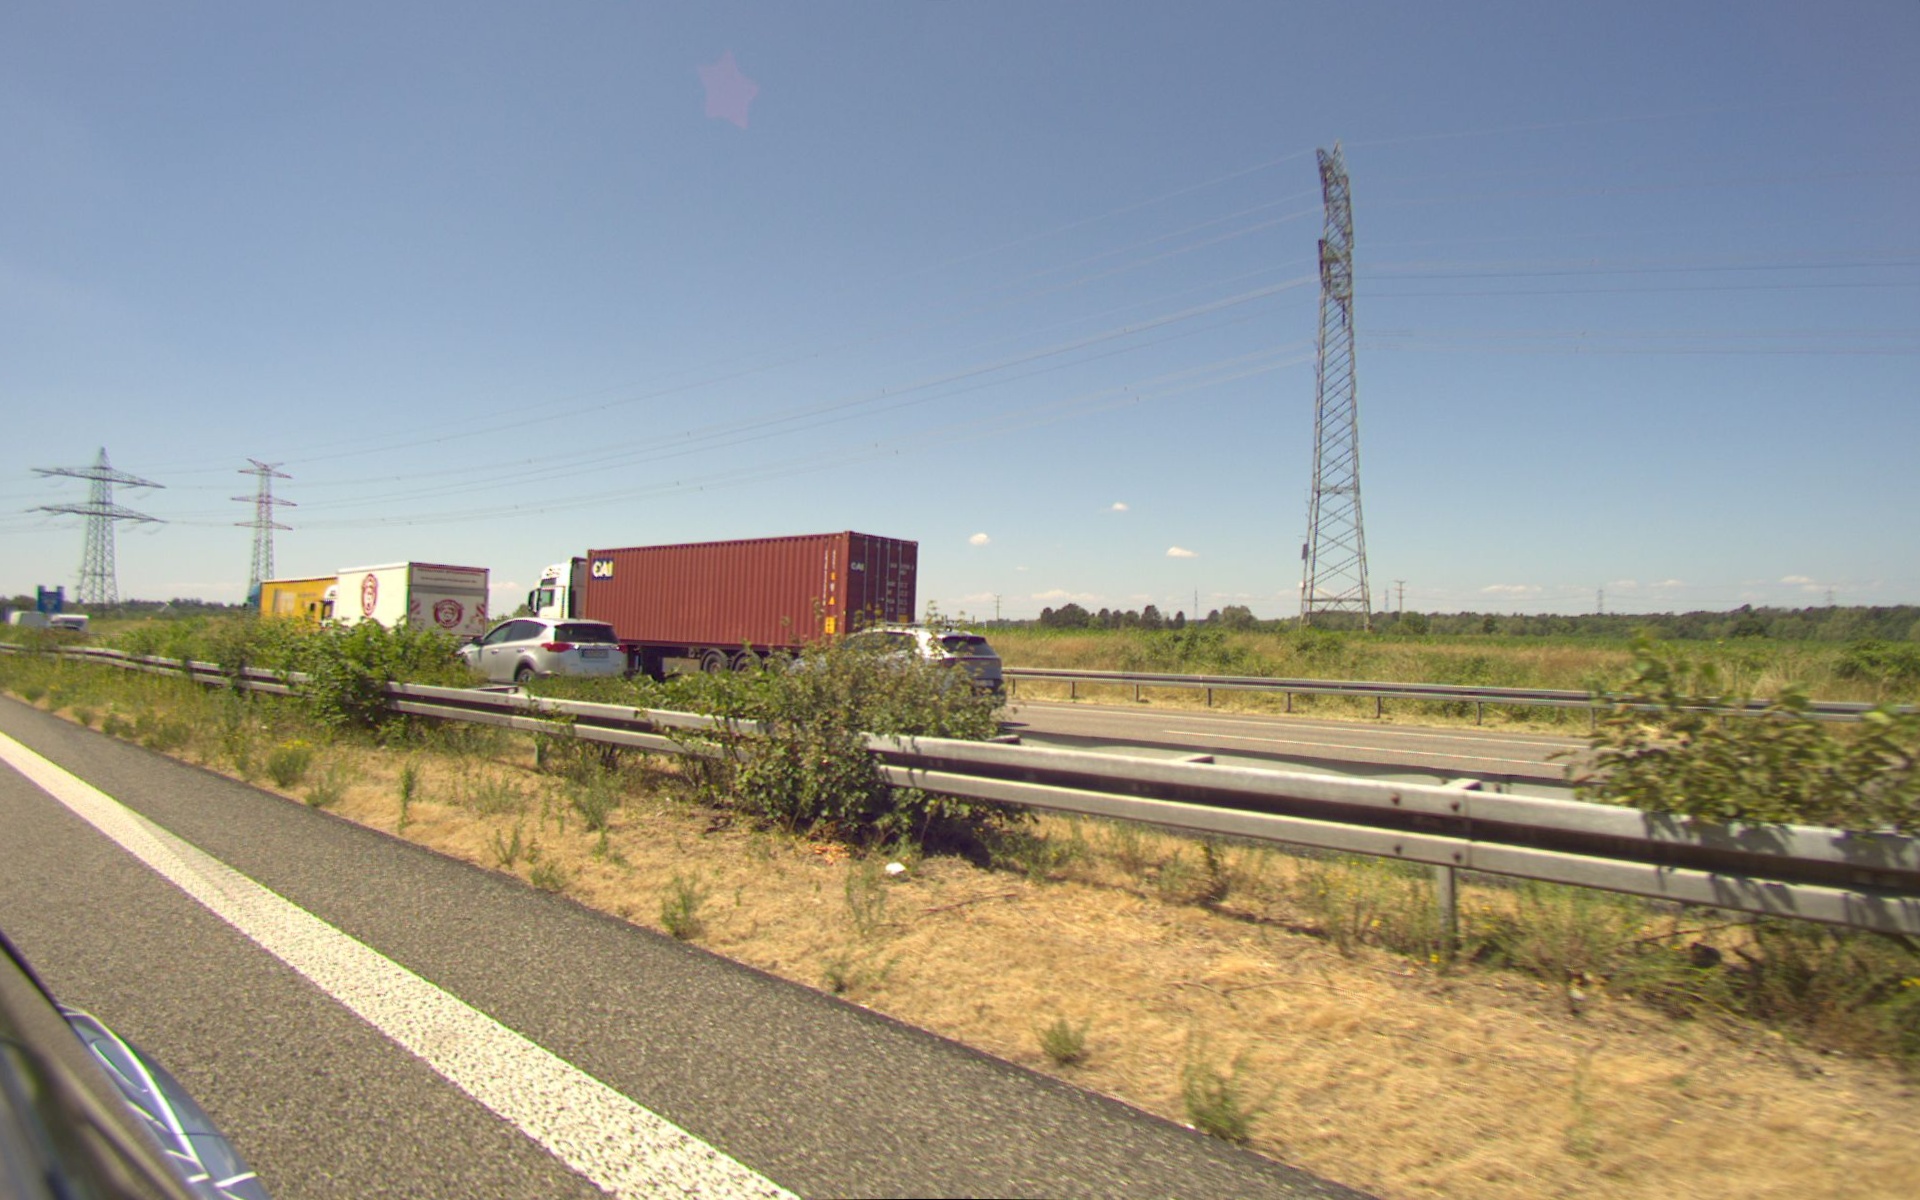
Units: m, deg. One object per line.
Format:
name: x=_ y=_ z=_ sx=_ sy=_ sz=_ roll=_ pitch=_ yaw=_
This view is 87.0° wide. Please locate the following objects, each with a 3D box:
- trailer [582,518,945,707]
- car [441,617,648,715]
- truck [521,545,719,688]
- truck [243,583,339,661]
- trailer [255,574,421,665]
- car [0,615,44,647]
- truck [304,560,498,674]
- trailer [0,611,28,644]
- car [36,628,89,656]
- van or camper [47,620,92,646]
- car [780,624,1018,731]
trailer: x=-6.024 y=0.364 z=28.429 sx=12.265 sy=4.339 sz=3.160 roll=-1 pitch=-1 yaw=41
car: x=-8.143 y=1.195 z=19.639 sx=4.583 sy=1.680 sz=1.816 roll=-1 pitch=-2 yaw=40
truck: x=-11.110 y=0.591 z=32.870 sx=6.434 sy=4.190 sz=3.180 roll=-1 pitch=-3 yaw=40
truck: x=-36.117 y=1.215 z=54.574 sx=5.617 sy=3.937 sz=2.833 roll=-1 pitch=-3 yaw=41
trailer: x=-31.247 y=1.038 z=50.385 sx=14.134 sy=4.008 sz=2.820 roll=-1 pitch=-3 yaw=41
car: x=-83.126 y=2.770 z=89.579 sx=7.463 sy=2.651 sz=2.083 roll=-1 pitch=-4 yaw=41
truck: x=-19.404 y=0.632 z=34.793 sx=9.364 sy=3.439 sz=2.905 roll=-1 pitch=-3 yaw=42
trailer: x=-119.481 y=3.448 z=126.837 sx=9.418 sy=4.077 sz=2.708 roll=-1 pitch=-3 yaw=41
car: x=-49.073 y=2.273 z=55.301 sx=3.998 sy=1.507 sz=1.648 roll=-1 pitch=-3 yaw=42
van or camper: x=-87.625 y=3.236 z=99.530 sx=6.479 sy=2.537 sz=2.418 roll=-1 pitch=-3 yaw=41
car: x=-1.150 y=1.277 z=17.814 sx=4.183 sy=1.672 sz=1.691 roll=-1 pitch=-3 yaw=41
